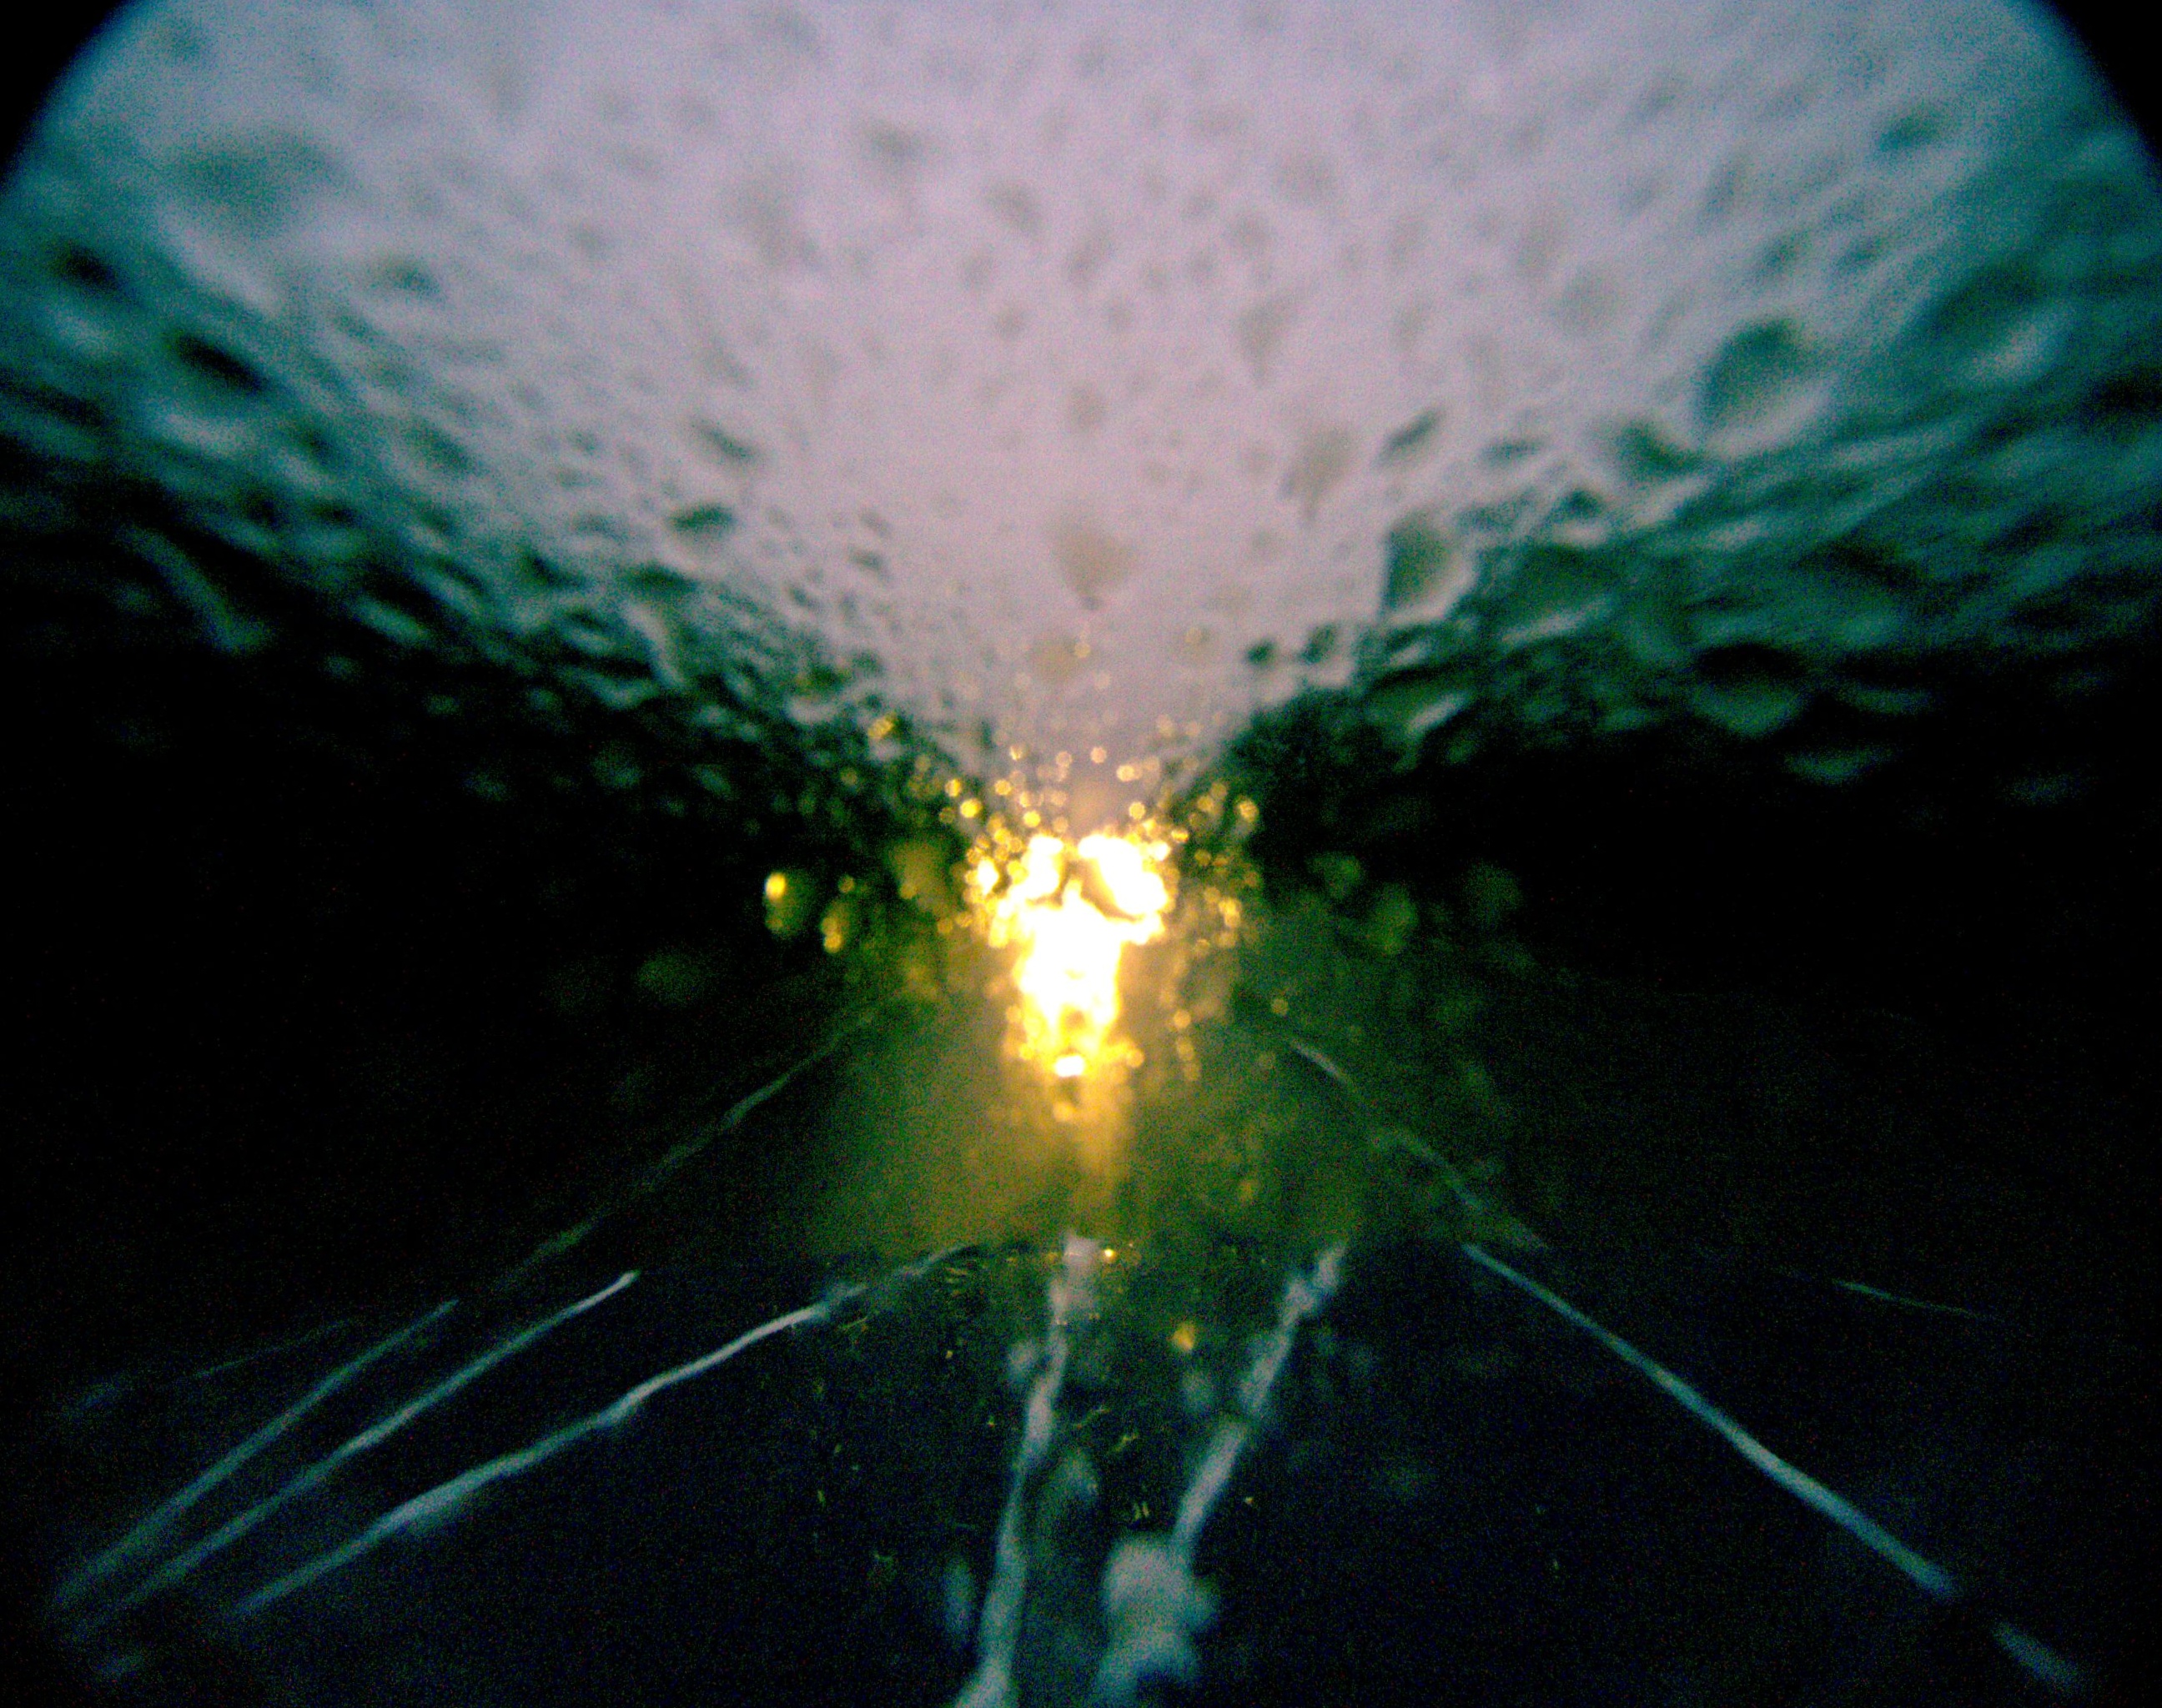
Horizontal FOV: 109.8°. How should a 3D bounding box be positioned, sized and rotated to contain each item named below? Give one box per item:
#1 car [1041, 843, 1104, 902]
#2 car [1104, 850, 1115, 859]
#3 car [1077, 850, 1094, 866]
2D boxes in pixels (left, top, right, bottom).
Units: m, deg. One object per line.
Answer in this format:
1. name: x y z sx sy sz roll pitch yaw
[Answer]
1. car: -0.186 0.520 24.307 1.572 1.701 4.001 -2 1 5
2. car: 5.429 0.050 144.760 1.877 1.597 4.195 -1 0 0
3. car: 0.562 0.458 93.572 1.998 1.752 4.370 -2 1 1
